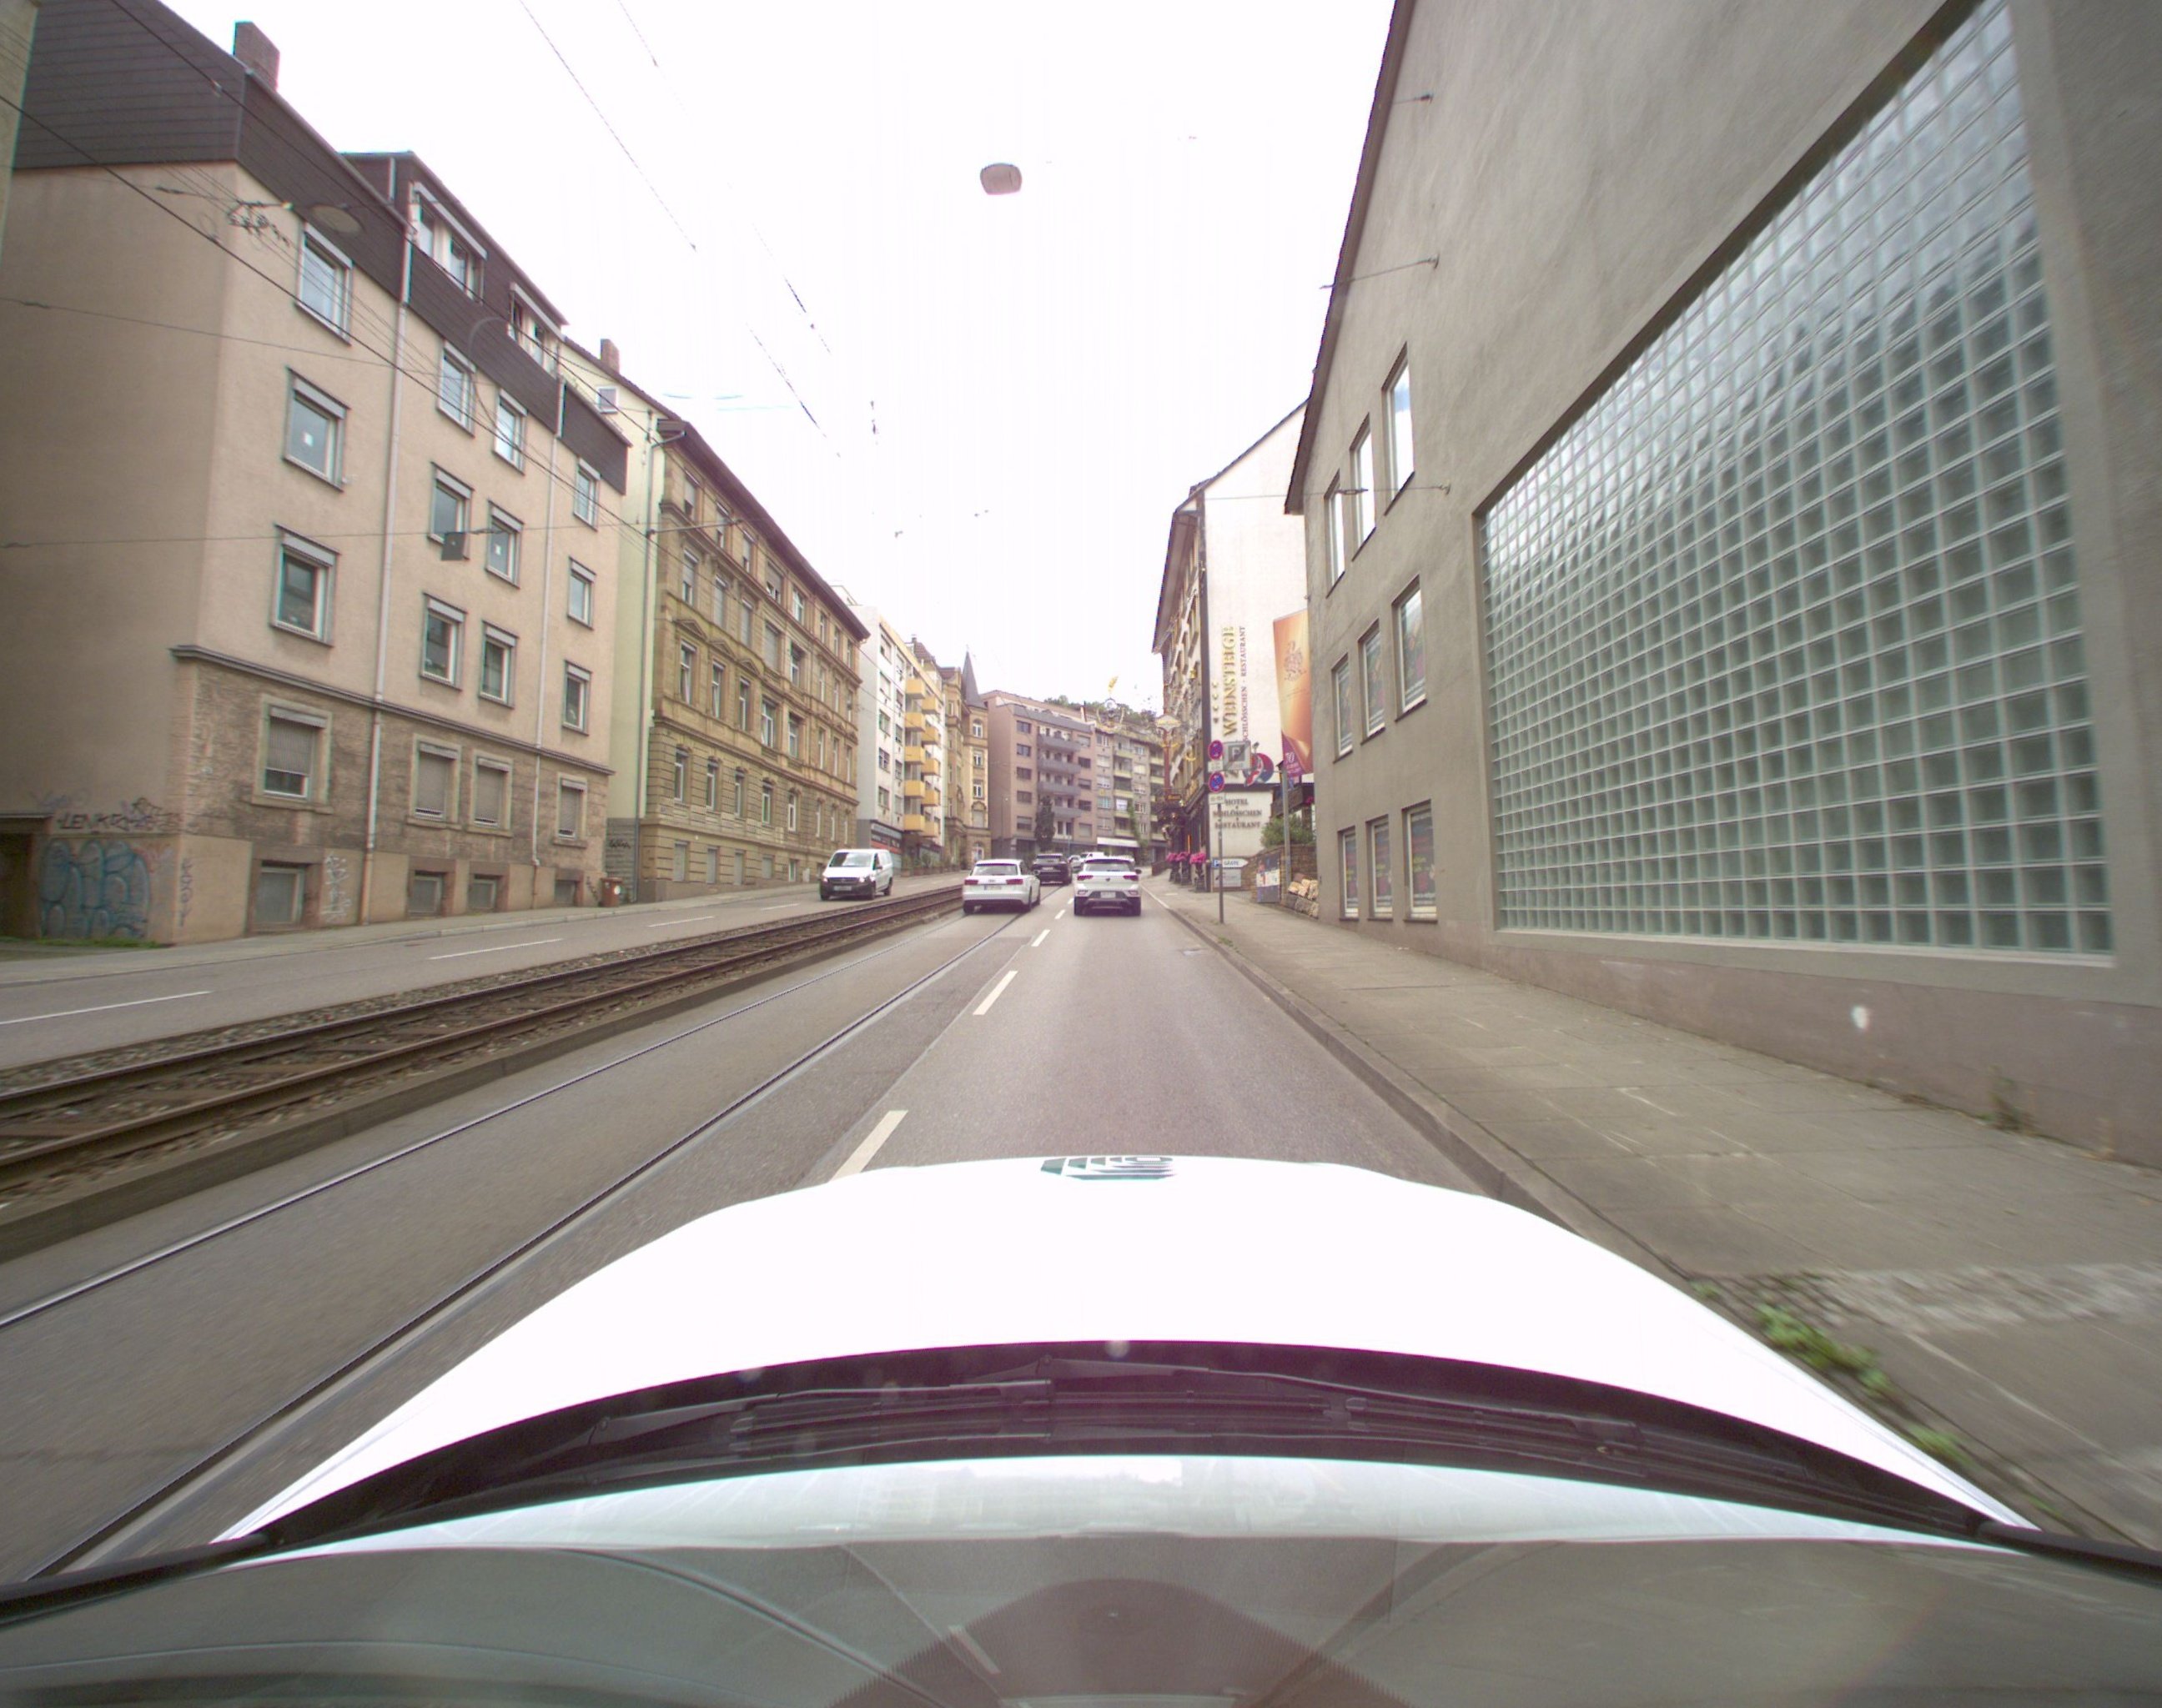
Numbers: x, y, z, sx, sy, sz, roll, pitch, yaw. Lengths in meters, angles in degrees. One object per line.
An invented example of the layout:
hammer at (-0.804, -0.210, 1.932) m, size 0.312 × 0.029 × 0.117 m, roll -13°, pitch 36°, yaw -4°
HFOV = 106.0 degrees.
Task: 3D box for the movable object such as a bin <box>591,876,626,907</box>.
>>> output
movable object such as a bin at (-14.624, 1.146, 25.228) m, size 0.626 × 0.911 × 0.677 m, roll 3°, pitch 0°, yaw 2°

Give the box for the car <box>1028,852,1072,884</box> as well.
car at (-1.560, 0.706, 42.406) m, size 2.031 × 1.571 × 4.359 m, roll -1°, pitch 0°, yaw 1°

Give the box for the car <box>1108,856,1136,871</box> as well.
car at (5.232, 1.179, 103.516) m, size 1.885 × 1.922 × 4.462 m, roll -1°, pitch 0°, yaw 28°

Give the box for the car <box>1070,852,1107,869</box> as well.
car at (0.977, 0.768, 100.168) m, size 1.974 × 2.035 × 4.731 m, roll -1°, pitch 0°, yaw 40°

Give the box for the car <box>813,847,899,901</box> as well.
car at (-8.583, 0.708, 31.529) m, size 1.952 × 1.900 × 5.315 m, roll -1°, pitch 0°, yaw -2°

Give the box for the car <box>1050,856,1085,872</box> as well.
car at (-1.498, 1.106, 90.428) m, size 1.776 × 1.728 × 4.025 m, roll -1°, pitch 0°, yaw 37°

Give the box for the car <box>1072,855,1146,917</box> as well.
car at (0.747, 0.820, 22.686) m, size 1.872 × 1.554 × 4.001 m, roll -1°, pitch 0°, yaw 1°

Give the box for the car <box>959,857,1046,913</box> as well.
car at (-2.168, 0.826, 23.655) m, size 1.871 × 1.455 × 4.620 m, roll -1°, pitch 0°, yaw 2°
